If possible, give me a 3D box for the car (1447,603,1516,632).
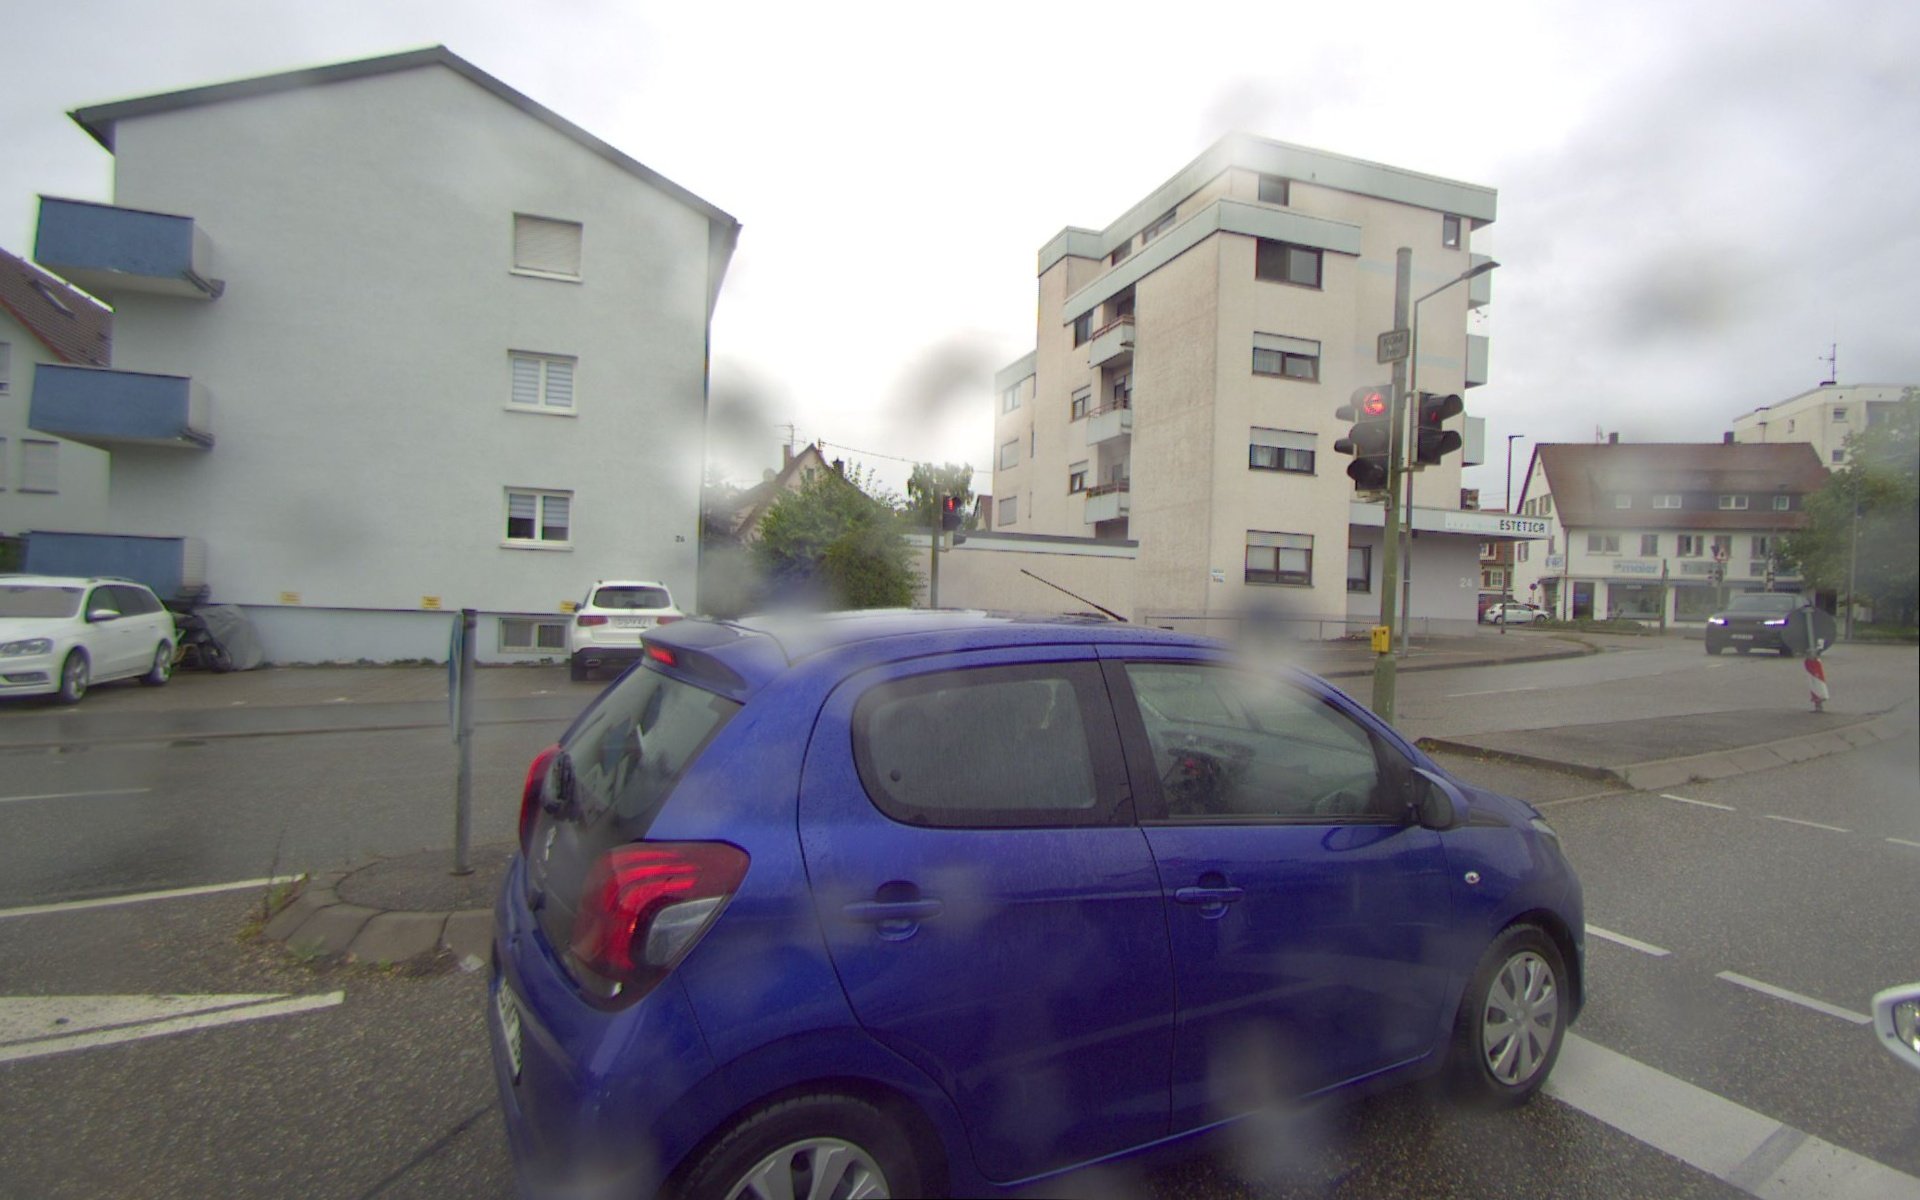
[{"bbox_3d":[37.209,1.234,71.712,3.987,1.868,1.889,2,0,14],"label":"car"}]

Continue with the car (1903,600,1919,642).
[{"bbox_3d":[46.339,1.019,47.312,3.960,1.929,1.981,2,0,-35],"label":"car"}]

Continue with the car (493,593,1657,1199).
[{"bbox_3d":[0.461,0.730,3.088,3.324,1.432,1.498,1,1,-30],"label":"car"}]

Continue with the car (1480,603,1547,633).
[{"bbox_3d":[37.916,1.229,68.882,3.611,1.946,1.889,2,0,14],"label":"car"}]

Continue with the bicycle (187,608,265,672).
[{"bbox_3d":[-12.701,0.680,17.409,1.053,1.067,0.345,0,1,-30],"label":"bicycle"}]

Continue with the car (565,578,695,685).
[{"bbox_3d":[-5.770,0.501,17.564,1.884,1.637,3.983,2,0,-19],"label":"car"}]

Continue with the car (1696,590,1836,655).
[{"bbox_3d":[23.930,0.671,29.745,5.132,1.760,1.979,2,0,-37],"label":"car"}]

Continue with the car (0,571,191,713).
[{"bbox_3d":[-11.488,0.447,12.494,1.854,1.480,4.732,1,-1,-23],"label":"car"}]
